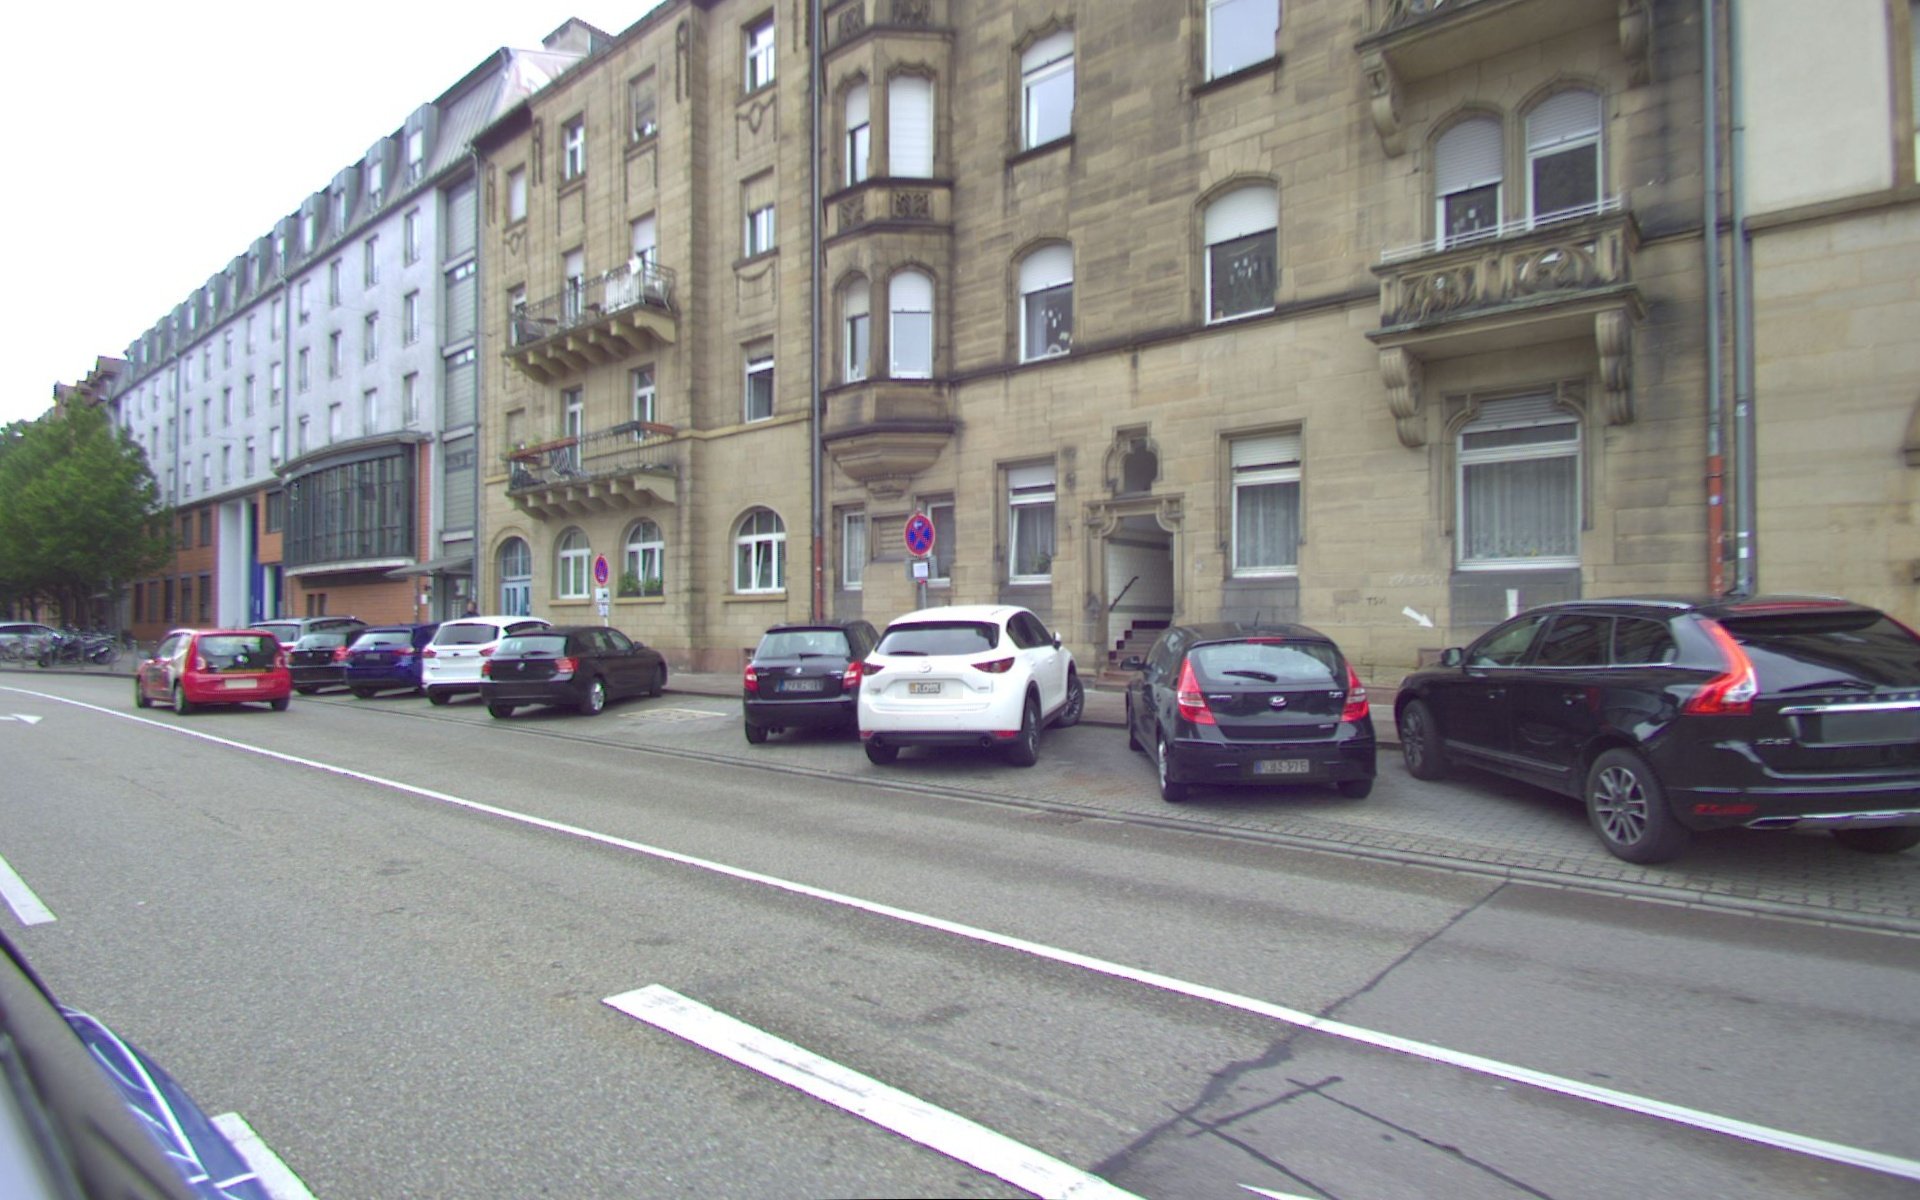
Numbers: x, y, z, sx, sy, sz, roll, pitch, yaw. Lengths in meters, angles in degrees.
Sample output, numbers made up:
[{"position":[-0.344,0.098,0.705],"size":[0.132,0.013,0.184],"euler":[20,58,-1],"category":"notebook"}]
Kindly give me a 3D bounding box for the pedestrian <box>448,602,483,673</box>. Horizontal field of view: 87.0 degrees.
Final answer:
[{"position":[-13.037,0.992,26.666],"size":[0.642,1.837,0.613],"euler":[-2,-2,41],"category":"pedestrian"}]

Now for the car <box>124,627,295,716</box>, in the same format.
[{"position":[-13.568,1.214,18.249],"size":[3.507,1.458,1.633],"euler":[-1,-2,39],"category":"car"}]

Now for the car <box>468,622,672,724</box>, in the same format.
[{"position":[-6.432,1.143,17.182],"size":[1.640,1.428,3.994],"euler":[0,0,5],"category":"car"}]

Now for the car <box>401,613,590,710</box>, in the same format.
[{"position":[-8.848,1.111,19.683],"size":[1.681,1.565,3.997],"euler":[-2,0,3],"category":"car"}]

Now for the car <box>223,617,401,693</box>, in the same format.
[{"position":[-15.654,1.267,24.728],"size":[1.710,1.565,3.998],"euler":[-2,0,1],"category":"car"}]

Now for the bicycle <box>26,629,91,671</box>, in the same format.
[{"position":[-30.858,1.702,34.649],"size":[0.416,1.363,1.609],"euler":[-1,0,39],"category":"bicycle"}]

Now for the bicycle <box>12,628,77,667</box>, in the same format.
[{"position":[-31.757,1.634,35.123],"size":[0.416,1.299,1.609],"euler":[-1,0,39],"category":"bicycle"}]

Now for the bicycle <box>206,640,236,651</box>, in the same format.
[{"position":[-33.126,2.037,45.346],"size":[0.527,0.440,0.997],"euler":[1,-1,42],"category":"bicycle"}]

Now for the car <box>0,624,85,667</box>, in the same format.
[{"position":[-37.755,1.796,40.374],"size":[1.758,1.641,3.976],"euler":[-1,-2,18],"category":"car"}]

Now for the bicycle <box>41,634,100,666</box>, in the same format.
[{"position":[-32.912,1.835,37.461],"size":[0.416,1.082,1.609],"euler":[-1,0,39],"category":"bicycle"}]

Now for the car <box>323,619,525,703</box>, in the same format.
[{"position":[-11.094,1.214,21.267],"size":[1.804,1.456,3.737],"euler":[-2,0,10],"category":"car"}]

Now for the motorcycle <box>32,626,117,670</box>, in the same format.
[{"position":[-29.925,1.599,34.237],"size":[0.599,1.363,2.096],"euler":[-1,0,41],"category":"motorcycle"}]

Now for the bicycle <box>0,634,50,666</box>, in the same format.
[{"position":[-34.631,1.841,37.266],"size":[0.416,1.082,1.609],"euler":[-1,0,39],"category":"bicycle"}]

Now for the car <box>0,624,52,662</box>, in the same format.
[{"position":[-42.408,1.870,43.967],"size":[1.983,1.641,3.976],"euler":[-1,-2,18],"category":"car"}]

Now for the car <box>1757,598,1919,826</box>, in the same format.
[{"position":[7.166,0.755,6.039],"size":[1.542,1.483,4.001],"euler":[-1,1,-2],"category":"car"}]

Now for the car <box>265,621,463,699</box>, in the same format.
[{"position":[-13.267,1.278,22.831],"size":[1.713,1.449,3.990],"euler":[-2,0,9],"category":"car"}]

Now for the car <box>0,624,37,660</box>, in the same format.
[{"position":[-44.628,1.901,45.627],"size":[1.983,1.641,3.976],"euler":[-1,-2,18],"category":"car"}]

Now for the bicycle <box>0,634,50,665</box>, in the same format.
[{"position":[-34.966,1.843,37.658],"size":[0.416,1.082,1.609],"euler":[-1,0,39],"category":"bicycle"}]

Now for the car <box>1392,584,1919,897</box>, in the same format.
[{"position":[5.033,0.766,7.524],"size":[1.707,1.664,4.227],"euler":[0,-1,-2],"category":"car"}]

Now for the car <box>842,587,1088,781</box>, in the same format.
[{"position":[0.259,0.780,11.769],"size":[1.825,1.736,3.979],"euler":[-1,2,16],"category":"car"}]

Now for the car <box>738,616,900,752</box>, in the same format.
[{"position":[-1.773,1.016,13.799],"size":[1.549,1.508,3.810],"euler":[0,0,2],"category":"car"}]

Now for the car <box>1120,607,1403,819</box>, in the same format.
[{"position":[2.624,0.887,9.770],"size":[1.709,1.506,3.996],"euler":[-2,1,4],"category":"car"}]
